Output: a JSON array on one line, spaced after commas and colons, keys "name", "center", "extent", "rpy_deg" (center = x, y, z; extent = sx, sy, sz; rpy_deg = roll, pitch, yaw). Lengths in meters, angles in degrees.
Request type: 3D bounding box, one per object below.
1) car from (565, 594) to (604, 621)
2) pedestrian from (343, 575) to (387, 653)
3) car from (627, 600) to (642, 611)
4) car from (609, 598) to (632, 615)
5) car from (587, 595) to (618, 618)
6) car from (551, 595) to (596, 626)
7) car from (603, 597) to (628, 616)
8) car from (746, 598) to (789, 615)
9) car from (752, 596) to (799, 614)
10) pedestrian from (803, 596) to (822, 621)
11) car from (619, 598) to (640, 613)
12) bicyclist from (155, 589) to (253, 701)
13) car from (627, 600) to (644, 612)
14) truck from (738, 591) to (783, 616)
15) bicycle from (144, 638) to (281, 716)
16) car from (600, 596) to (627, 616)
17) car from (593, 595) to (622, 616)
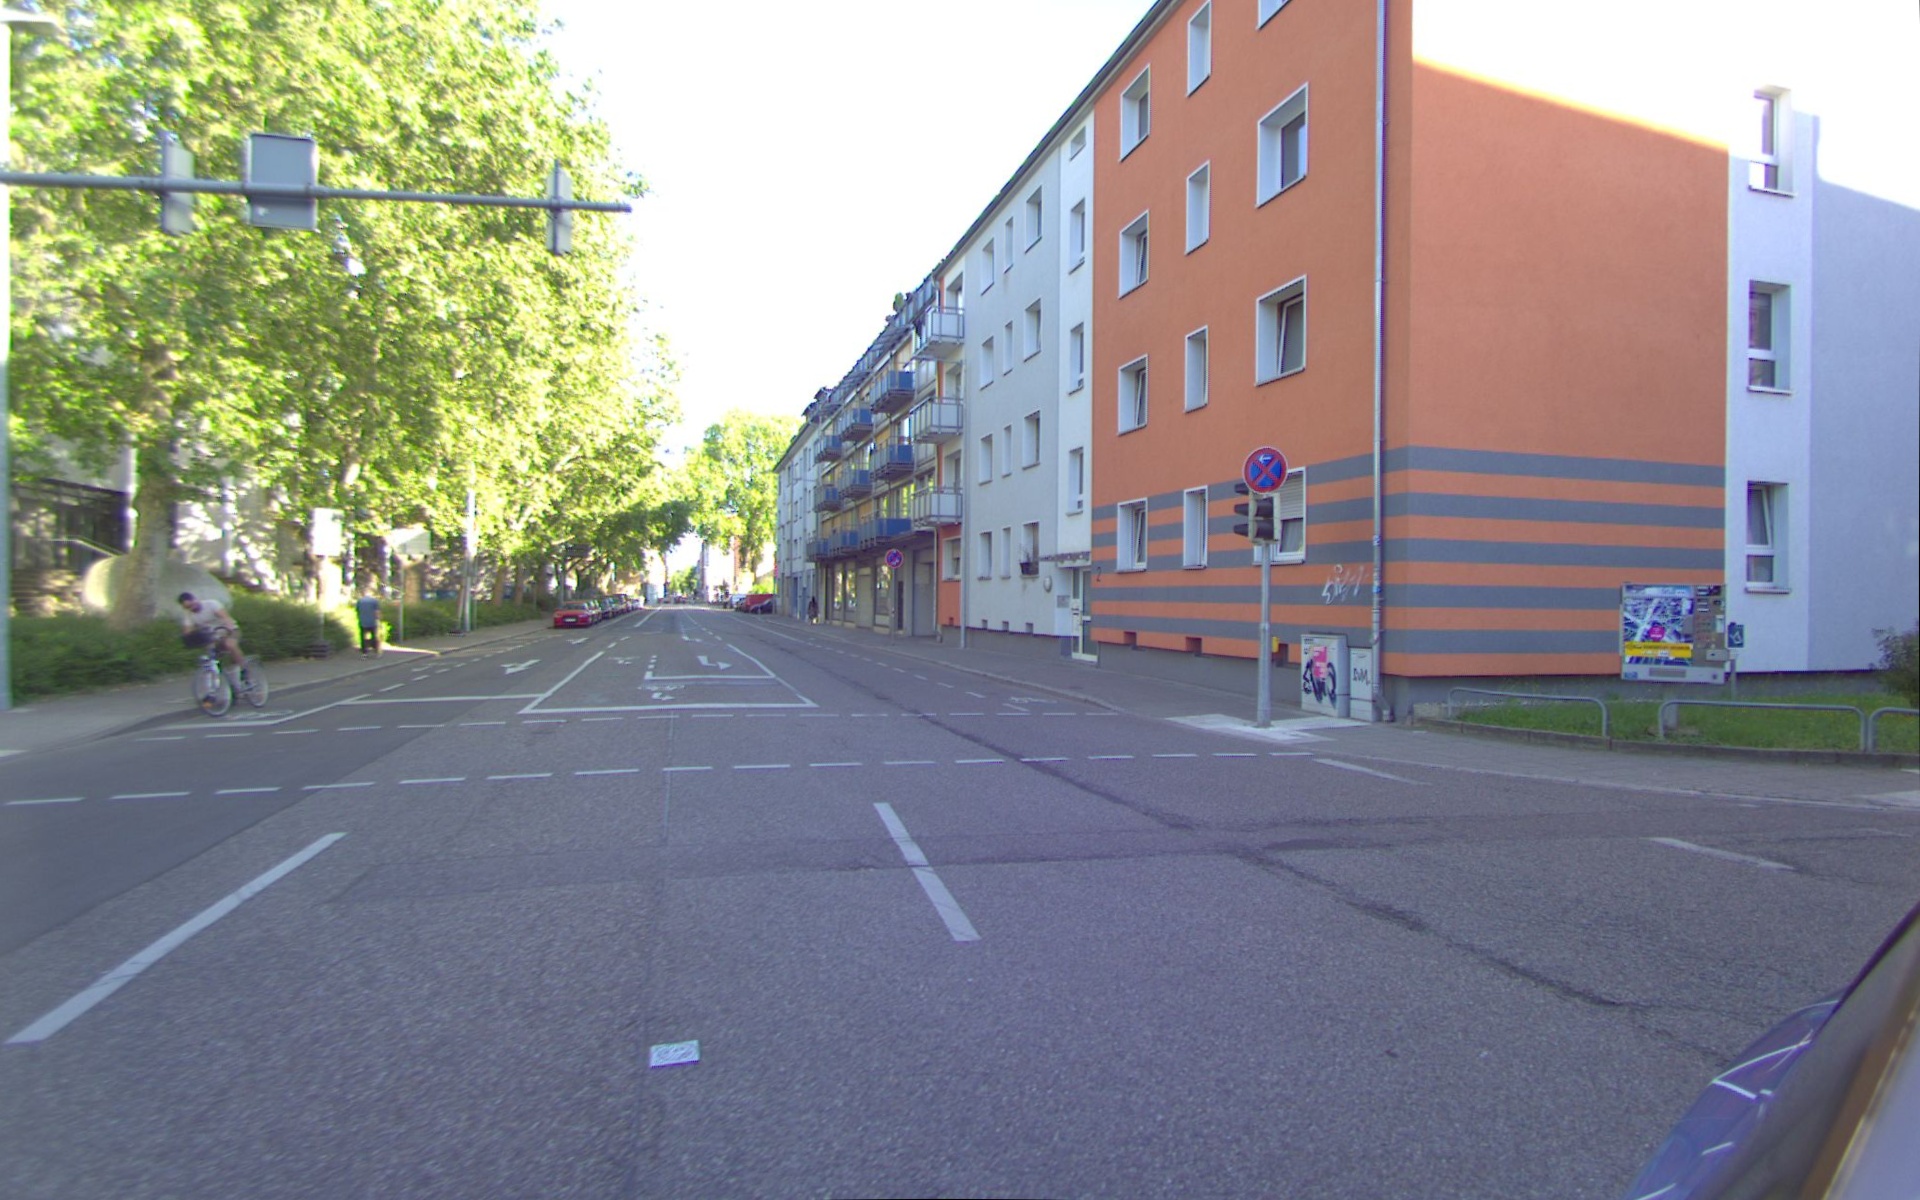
[{"name": "car", "center": [-22.557, 0.451, 60.889], "extent": [1.851, 1.565, 4.008], "rpy_deg": [0, 0, -16]}, {"name": "pedestrian", "center": [-14.518, 0.356, 24.699], "extent": [0.694, 1.864, 0.839], "rpy_deg": [1, -2, -15]}, {"name": "car", "center": [-44.611, 0.768, 138.842], "extent": [1.851, 1.565, 4.008], "rpy_deg": [0, 0, -16]}, {"name": "car", "center": [-31.813, 0.589, 95.012], "extent": [1.851, 1.565, 4.008], "rpy_deg": [0, 0, -16]}, {"name": "car", "center": [-25.772, 0.474, 73.093], "extent": [1.851, 1.565, 4.008], "rpy_deg": [0, 0, -16]}, {"name": "car", "center": [-20.529, 0.527, 53.902], "extent": [1.851, 1.565, 4.008], "rpy_deg": [0, 0, -16]}, {"name": "car", "center": [-30.555, 0.570, 89.872], "extent": [1.851, 1.565, 4.008], "rpy_deg": [0, 0, -16]}, {"name": "car", "center": [-18.580, 0.670, 97.858], "extent": [3.916, 1.570, 1.805], "rpy_deg": [0, -2, -16]}, {"name": "car", "center": [-16.595, 0.477, 90.974], "extent": [3.916, 1.570, 1.805], "rpy_deg": [0, -2, -16]}, {"name": "pedestrian", "center": [-8.545, 0.481, 58.562], "extent": [0.929, 1.411, 0.956], "rpy_deg": [0, 0, -16]}, {"name": "car", "center": [-34.277, 0.574, 105.104], "extent": [1.851, 1.565, 4.008], "rpy_deg": [0, 0, -16]}, {"name": "bicyclist", "center": [-10.481, 0.603, 14.067], "extent": [0.733, 1.508, 0.957], "rpy_deg": [0, 0, -11]}, {"name": "car", "center": [-41.622, 0.800, 129.817], "extent": [1.851, 1.565, 4.008], "rpy_deg": [0, 0, -16]}, {"name": "truck", "center": [-20.318, 0.366, 103.120], "extent": [4.352, 2.478, 1.805], "rpy_deg": [0, -2, -16]}, {"name": "bicycle", "center": [-10.545, 1.050, 14.381], "extent": [0.716, 0.938, 2.122], "rpy_deg": [0, 0, -11]}, {"name": "car", "center": [-28.331, 0.477, 82.884], "extent": [1.851, 1.565, 4.008], "rpy_deg": [0, 0, -16]}, {"name": "car", "center": [-27.073, 0.452, 77.907], "extent": [1.851, 1.565, 4.008], "rpy_deg": [0, 0, -16]}]
